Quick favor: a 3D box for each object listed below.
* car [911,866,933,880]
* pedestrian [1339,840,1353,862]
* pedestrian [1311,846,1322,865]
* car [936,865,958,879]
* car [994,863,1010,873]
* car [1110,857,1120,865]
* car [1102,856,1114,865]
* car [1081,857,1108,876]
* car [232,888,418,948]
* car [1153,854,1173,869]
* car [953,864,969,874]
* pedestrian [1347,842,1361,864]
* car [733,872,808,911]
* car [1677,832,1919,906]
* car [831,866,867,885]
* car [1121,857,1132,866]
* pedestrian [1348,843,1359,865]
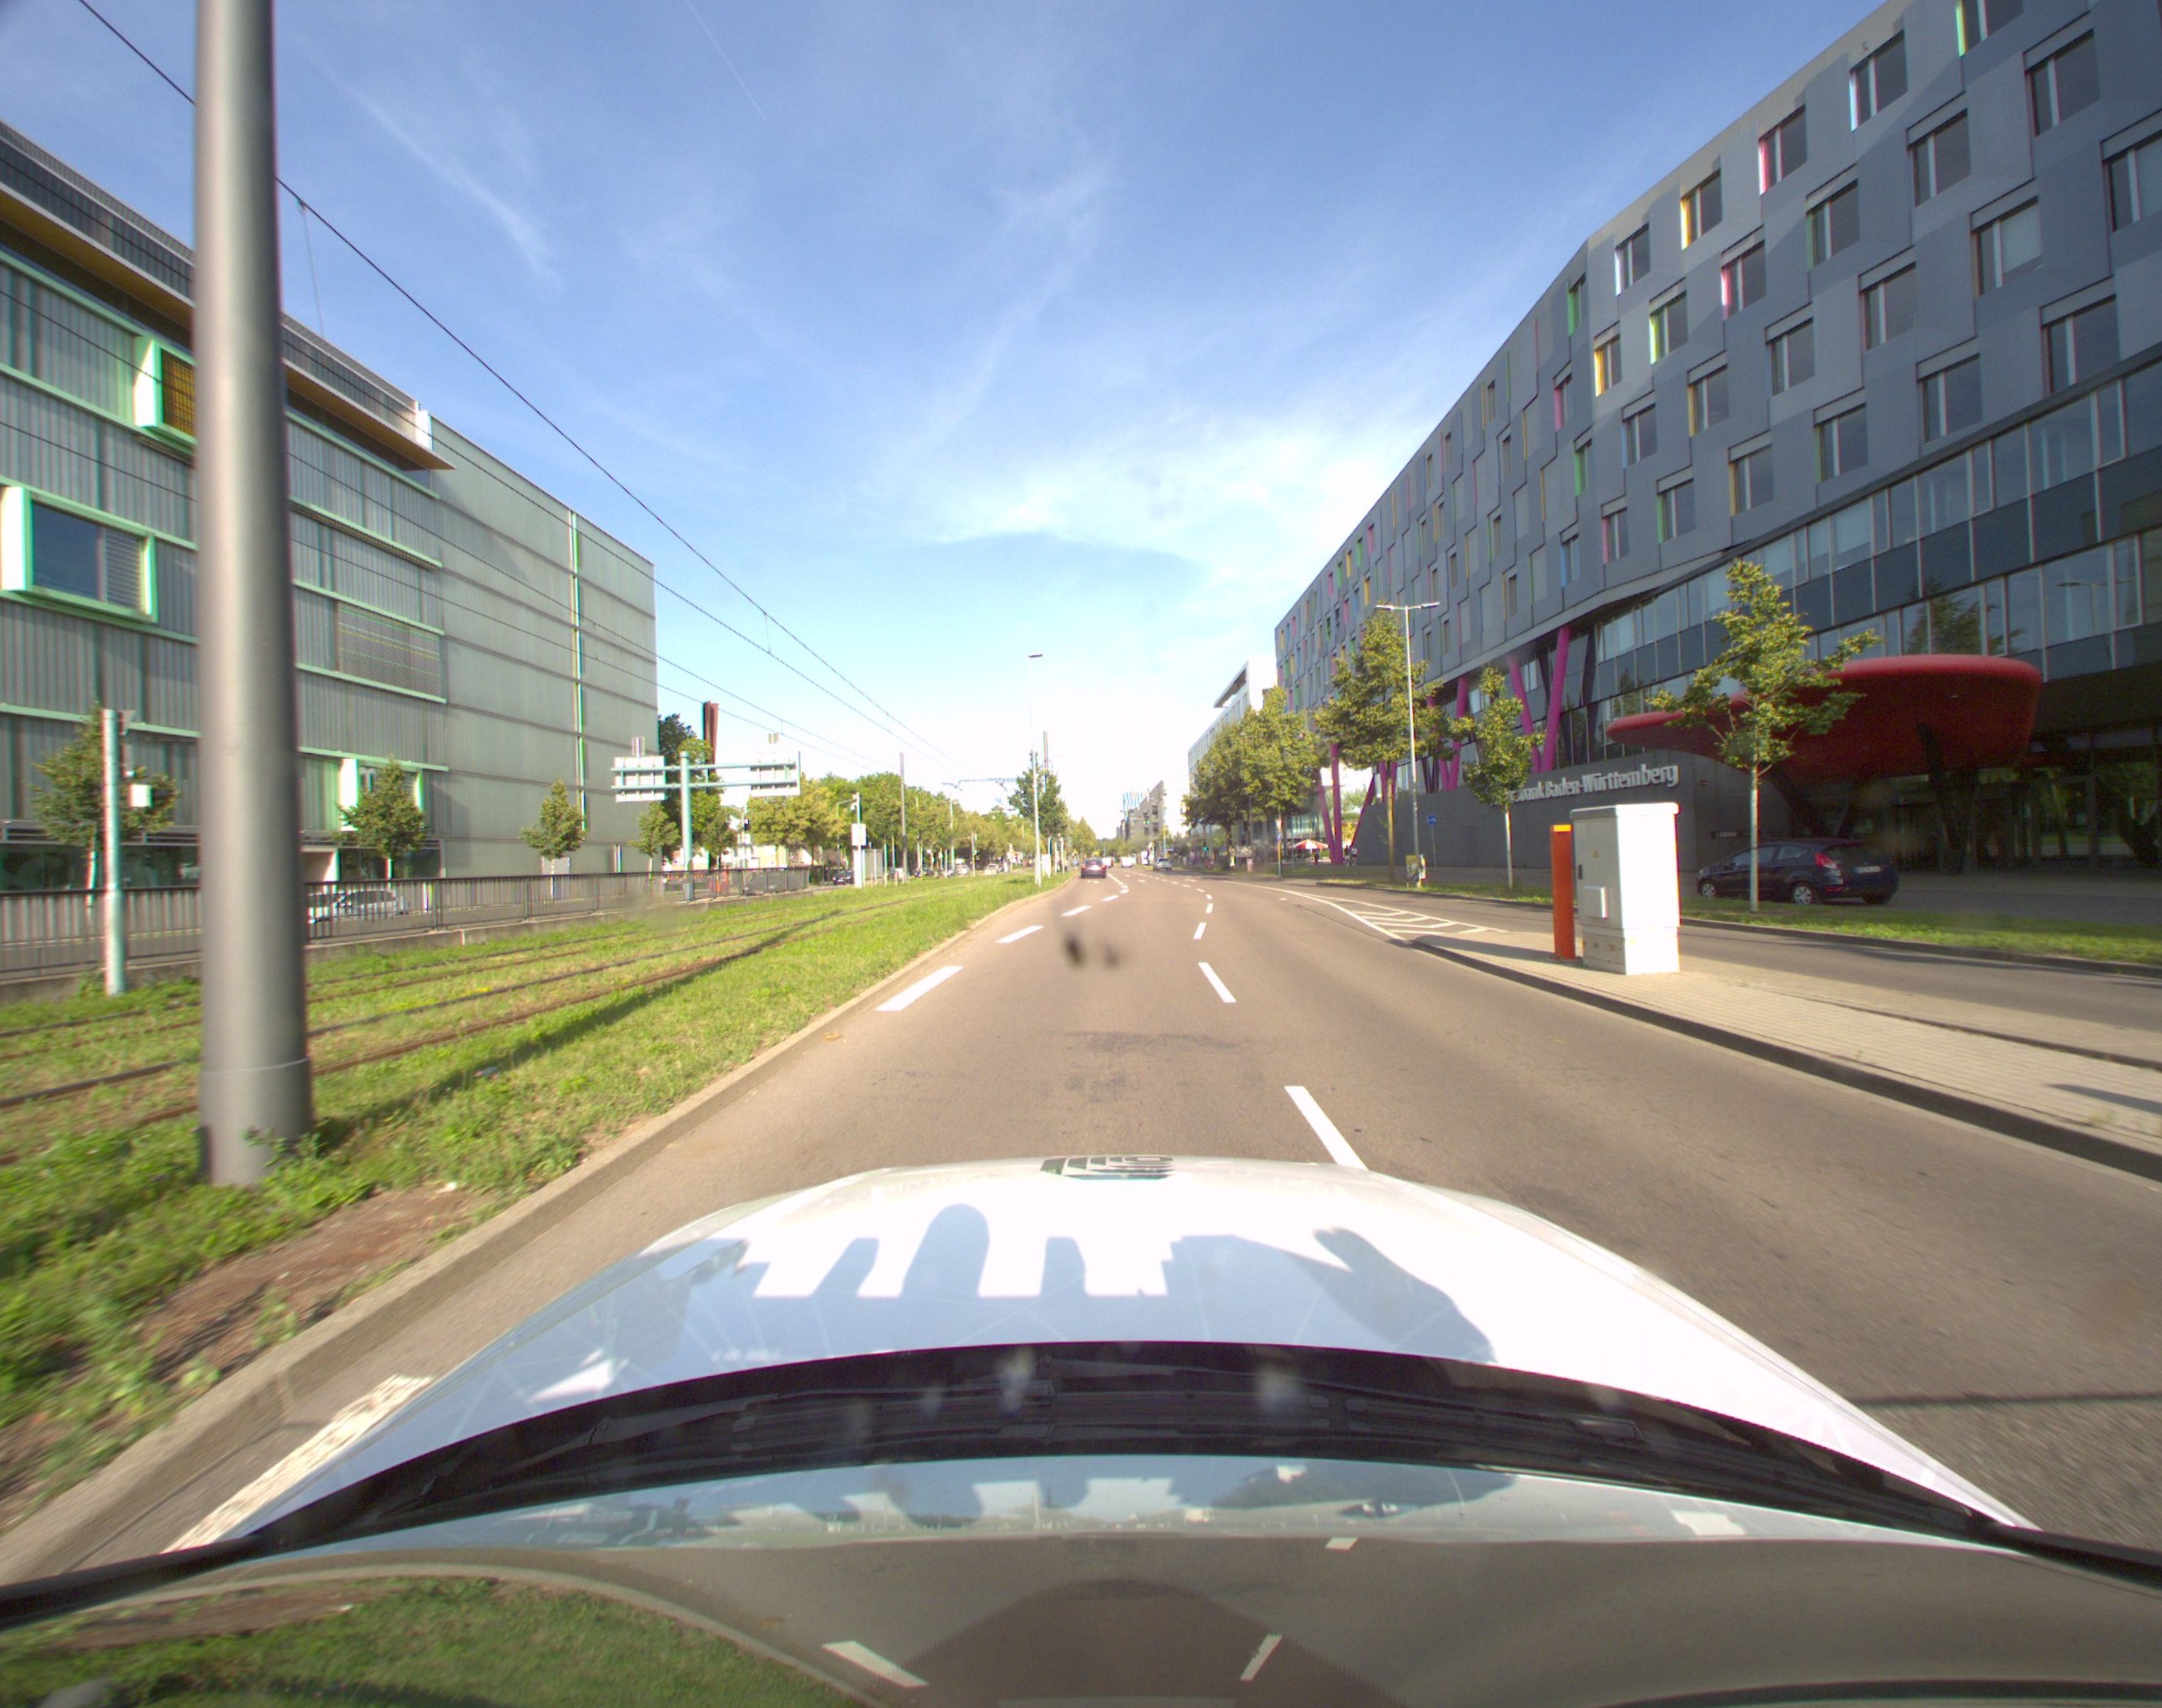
[{"bbox_3d":[-21.194,2.494,108.616,1.987,1.687,4.616,-2,0,0],"label":"car"},{"bbox_3d":[22.270,-0.242,68.436,0.752,1.793,0.843,-4,-1,-1],"label":"pedestrian"},{"bbox_3d":[21.178,0.155,73.262,0.692,1.638,0.736,-4,-1,-1],"label":"pedestrian"},{"bbox_3d":[-18.017,2.390,109.478,1.987,1.527,4.912,-6,0,0],"label":"car"},{"bbox_3d":[-13.094,2.318,135.608,1.986,1.504,4.095,-3,-1,2],"label":"car"},{"bbox_3d":[7.300,1.567,174.335,1.917,1.684,4.001,0,0,1],"label":"car"},{"bbox_3d":[4.865,1.165,147.682,2.007,1.684,4.001,0,0,1],"label":"car"},{"bbox_3d":[0.993,0.910,60.331,1.884,1.386,4.333,0,0,-1],"label":"car"},{"bbox_3d":[-22.683,1.849,24.677,1.655,1.422,4.185,-2,0,0],"label":"car"},{"bbox_3d":[9.218,0.861,91.702,1.857,1.684,4.001,0,0,1],"label":"car"},{"bbox_3d":[-19.967,2.447,135.283,1.899,1.528,4.442,-2,0,1],"label":"car"},{"bbox_3d":[22.941,-0.079,68.408,0.765,1.825,0.852,-4,-1,-1],"label":"pedestrian"},{"bbox_3d":[-15.869,1.878,41.906,1.987,1.687,4.726,-2,0,0],"label":"car"},{"bbox_3d":[15.814,0.290,18.304,1.686,1.390,4.197,-2,0,-1],"label":"car"},{"bbox_3d":[-22.007,2.025,77.422,1.987,1.687,4.726,-2,0,0],"label":"car"},{"bbox_3d":[8.524,1.431,151.677,1.857,1.684,4.001,0,0,1],"label":"car"},{"bbox_3d":[22.933,-0.017,68.501,0.654,1.793,0.786,-1,-1,-1],"label":"pedestrian"}]
